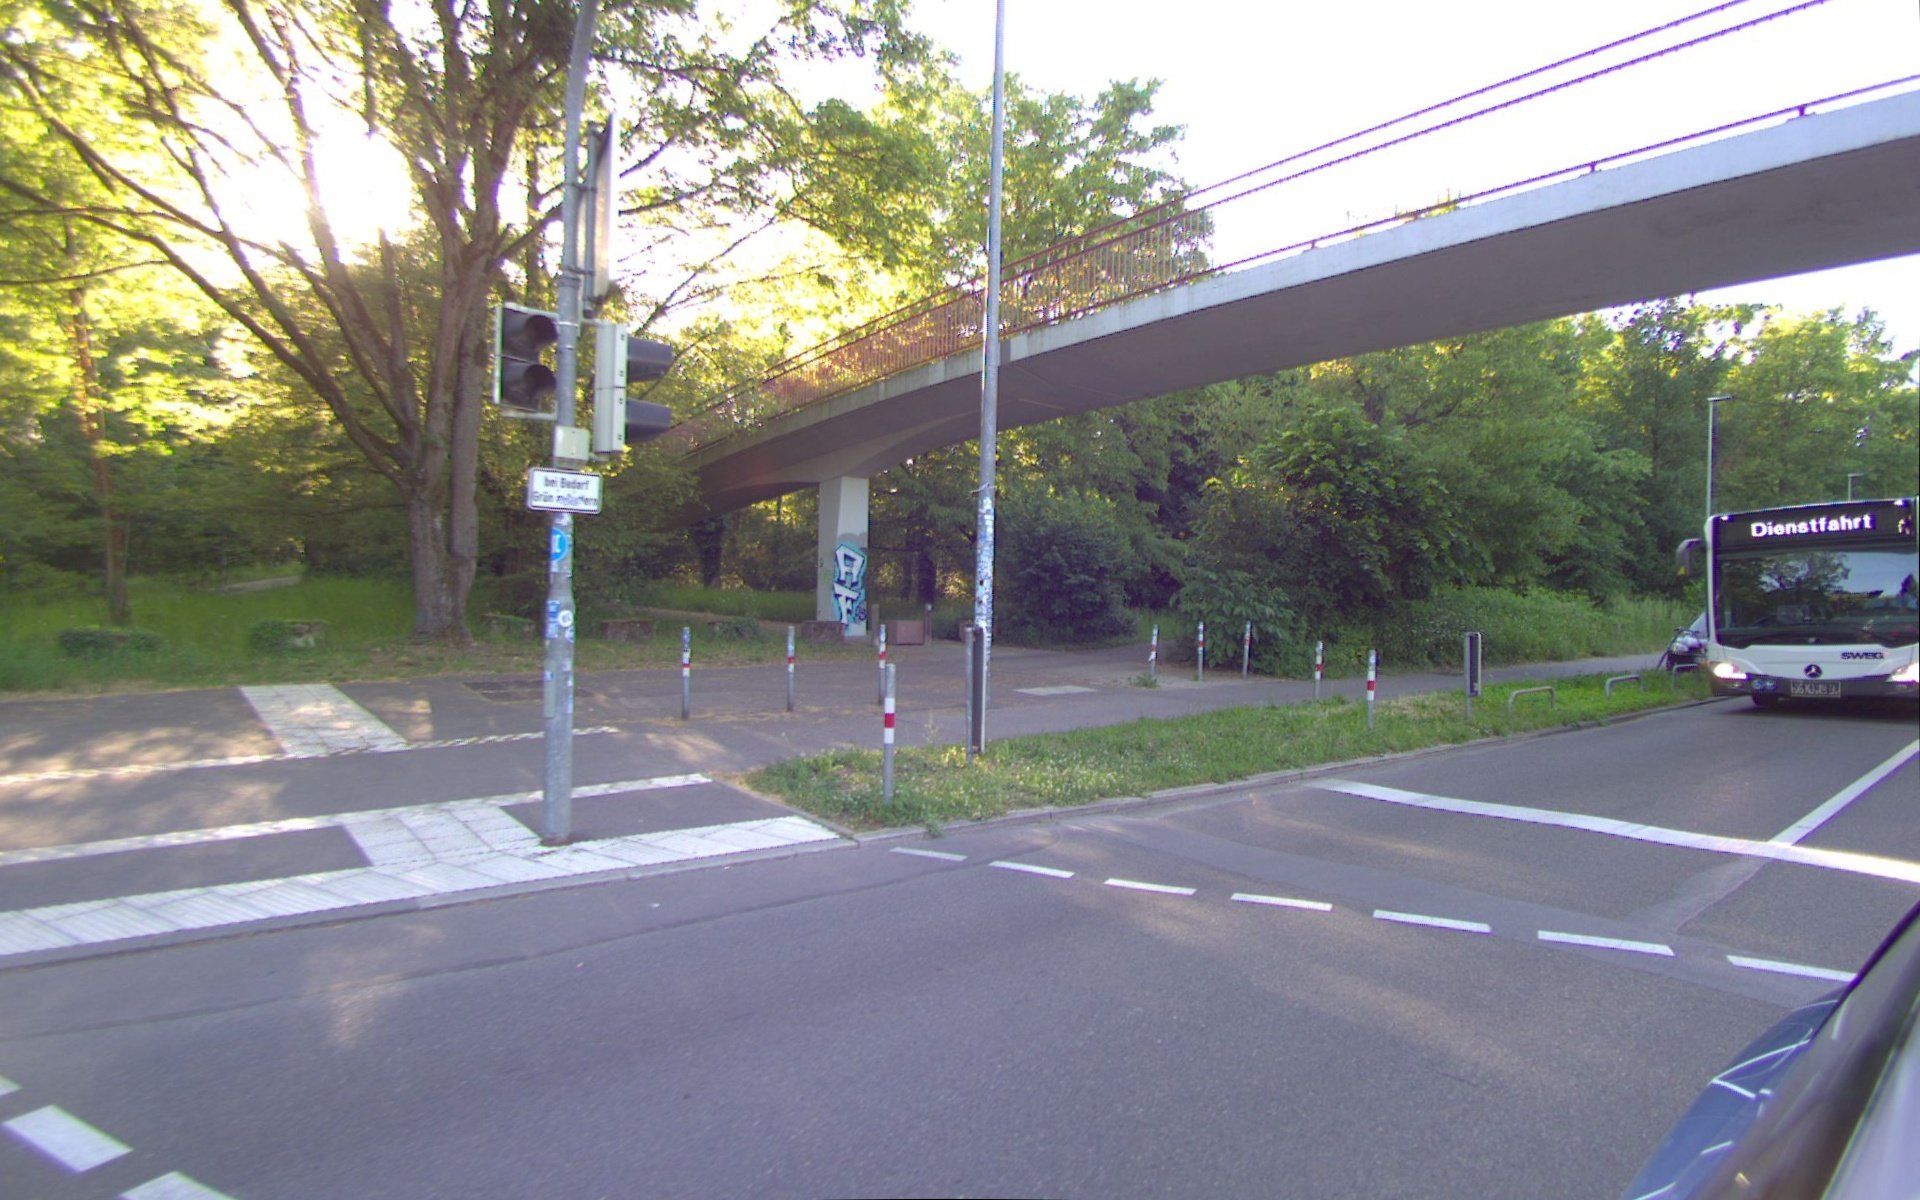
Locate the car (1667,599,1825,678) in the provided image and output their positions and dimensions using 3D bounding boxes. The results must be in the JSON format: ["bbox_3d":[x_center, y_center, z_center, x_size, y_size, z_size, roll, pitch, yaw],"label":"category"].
[{"bbox_3d":[16.901,0.748,21.688,4.310,1.472,1.778,0,2,-40],"label":"car"}]

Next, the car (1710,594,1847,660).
[{"bbox_3d":[20.404,0.613,25.183,3.940,1.472,1.779,0,2,-38],"label":"car"}]

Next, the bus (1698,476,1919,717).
[{"bbox_3d":[16.452,-0.038,17.831,12.660,3.086,2.810,0,0,-41],"label":"bus"}]
